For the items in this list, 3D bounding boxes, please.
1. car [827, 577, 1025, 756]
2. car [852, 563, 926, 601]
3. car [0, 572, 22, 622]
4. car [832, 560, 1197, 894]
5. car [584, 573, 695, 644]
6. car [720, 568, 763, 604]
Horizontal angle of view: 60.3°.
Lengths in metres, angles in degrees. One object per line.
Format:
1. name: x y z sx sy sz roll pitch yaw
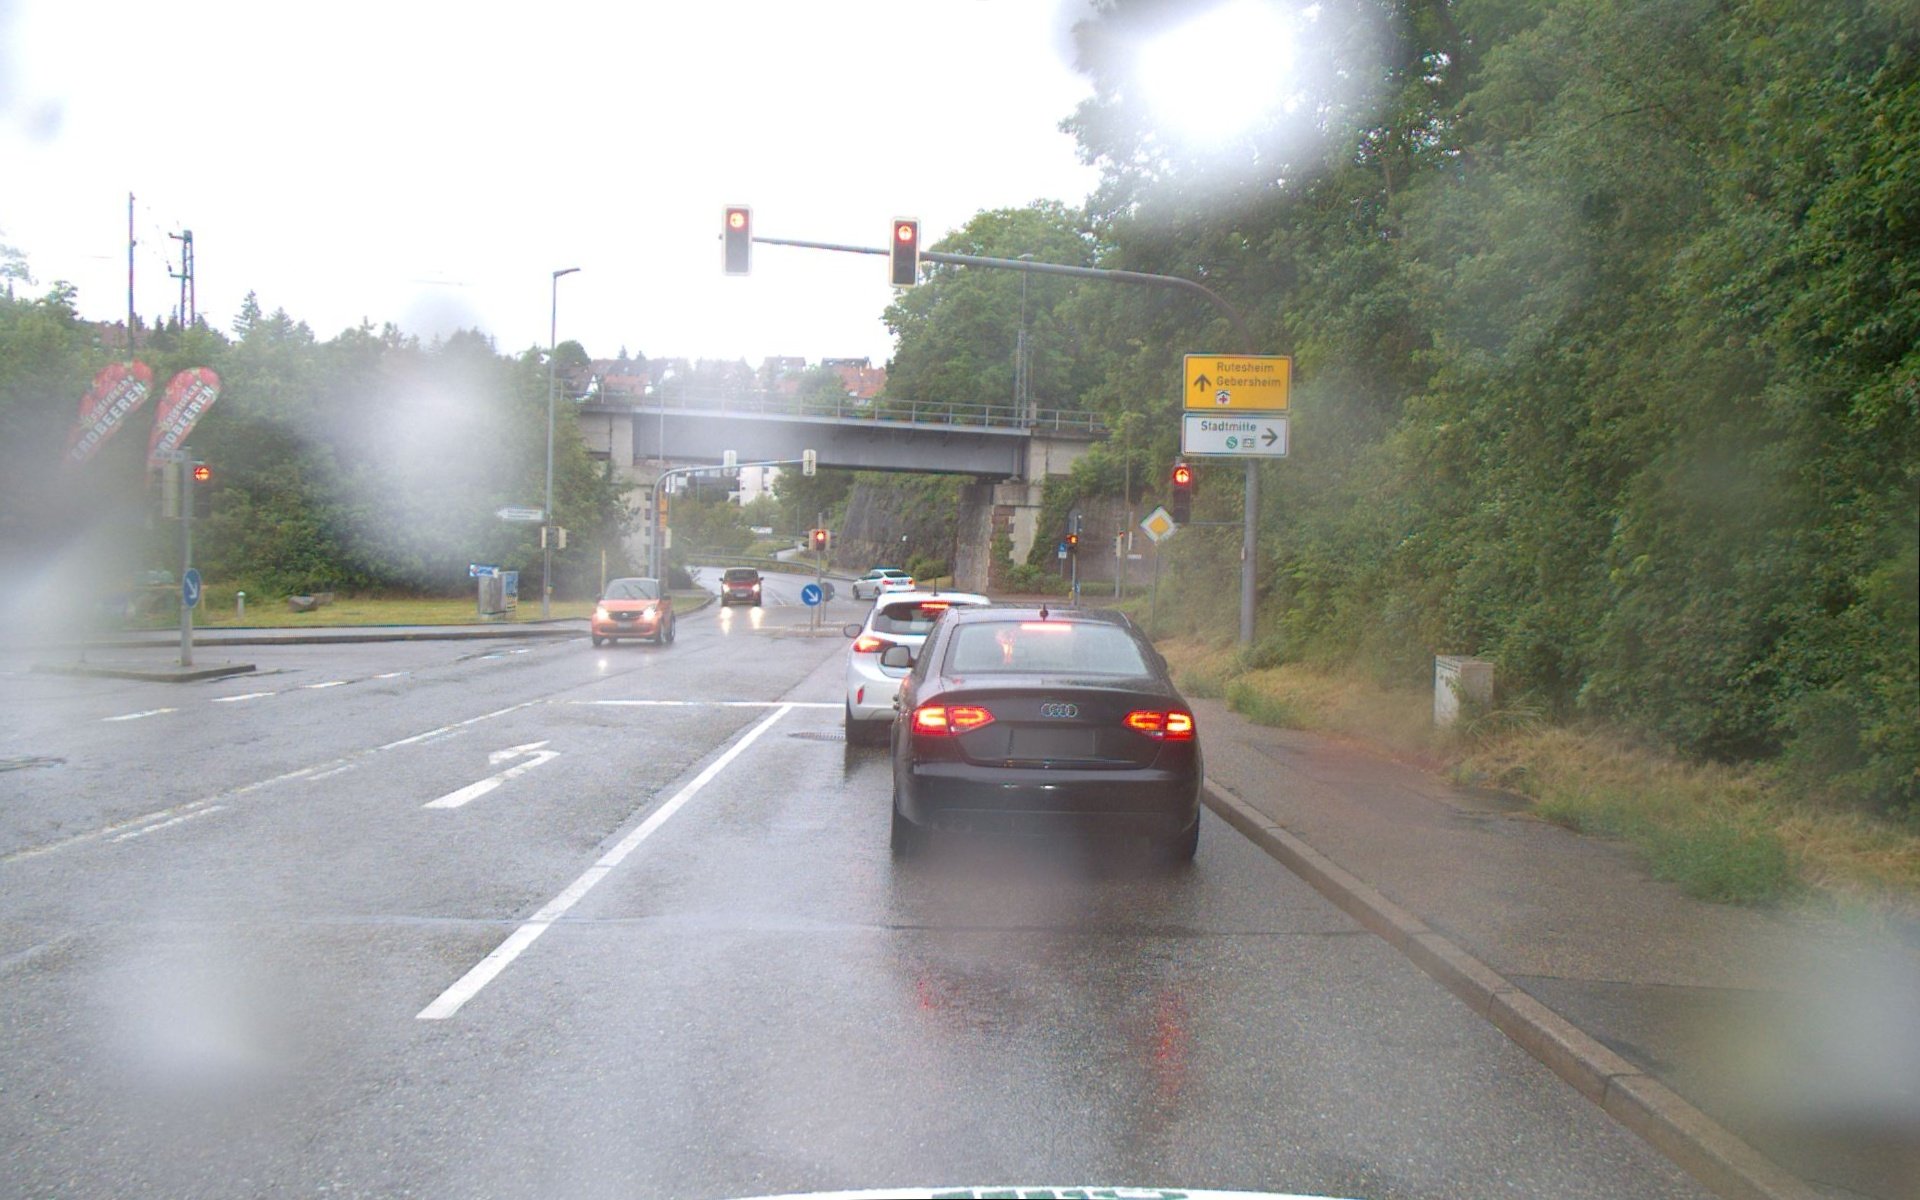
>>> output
1. car: -0.339 0.630 17.035 1.786 1.613 3.999 0 -1 -1
2. car: -3.547 -0.869 82.195 1.786 1.773 4.433 1 -1 -31
3. car: -32.160 -0.091 53.664 1.960 1.612 3.986 -1 1 -14
4. car: 0.244 0.601 10.375 1.832 1.644 4.000 0 2 -1
5. car: -7.742 0.215 40.285 1.953 1.613 3.999 0 -1 -1
6. car: -10.245 -0.651 77.672 1.956 1.656 3.993 0 1 -8
